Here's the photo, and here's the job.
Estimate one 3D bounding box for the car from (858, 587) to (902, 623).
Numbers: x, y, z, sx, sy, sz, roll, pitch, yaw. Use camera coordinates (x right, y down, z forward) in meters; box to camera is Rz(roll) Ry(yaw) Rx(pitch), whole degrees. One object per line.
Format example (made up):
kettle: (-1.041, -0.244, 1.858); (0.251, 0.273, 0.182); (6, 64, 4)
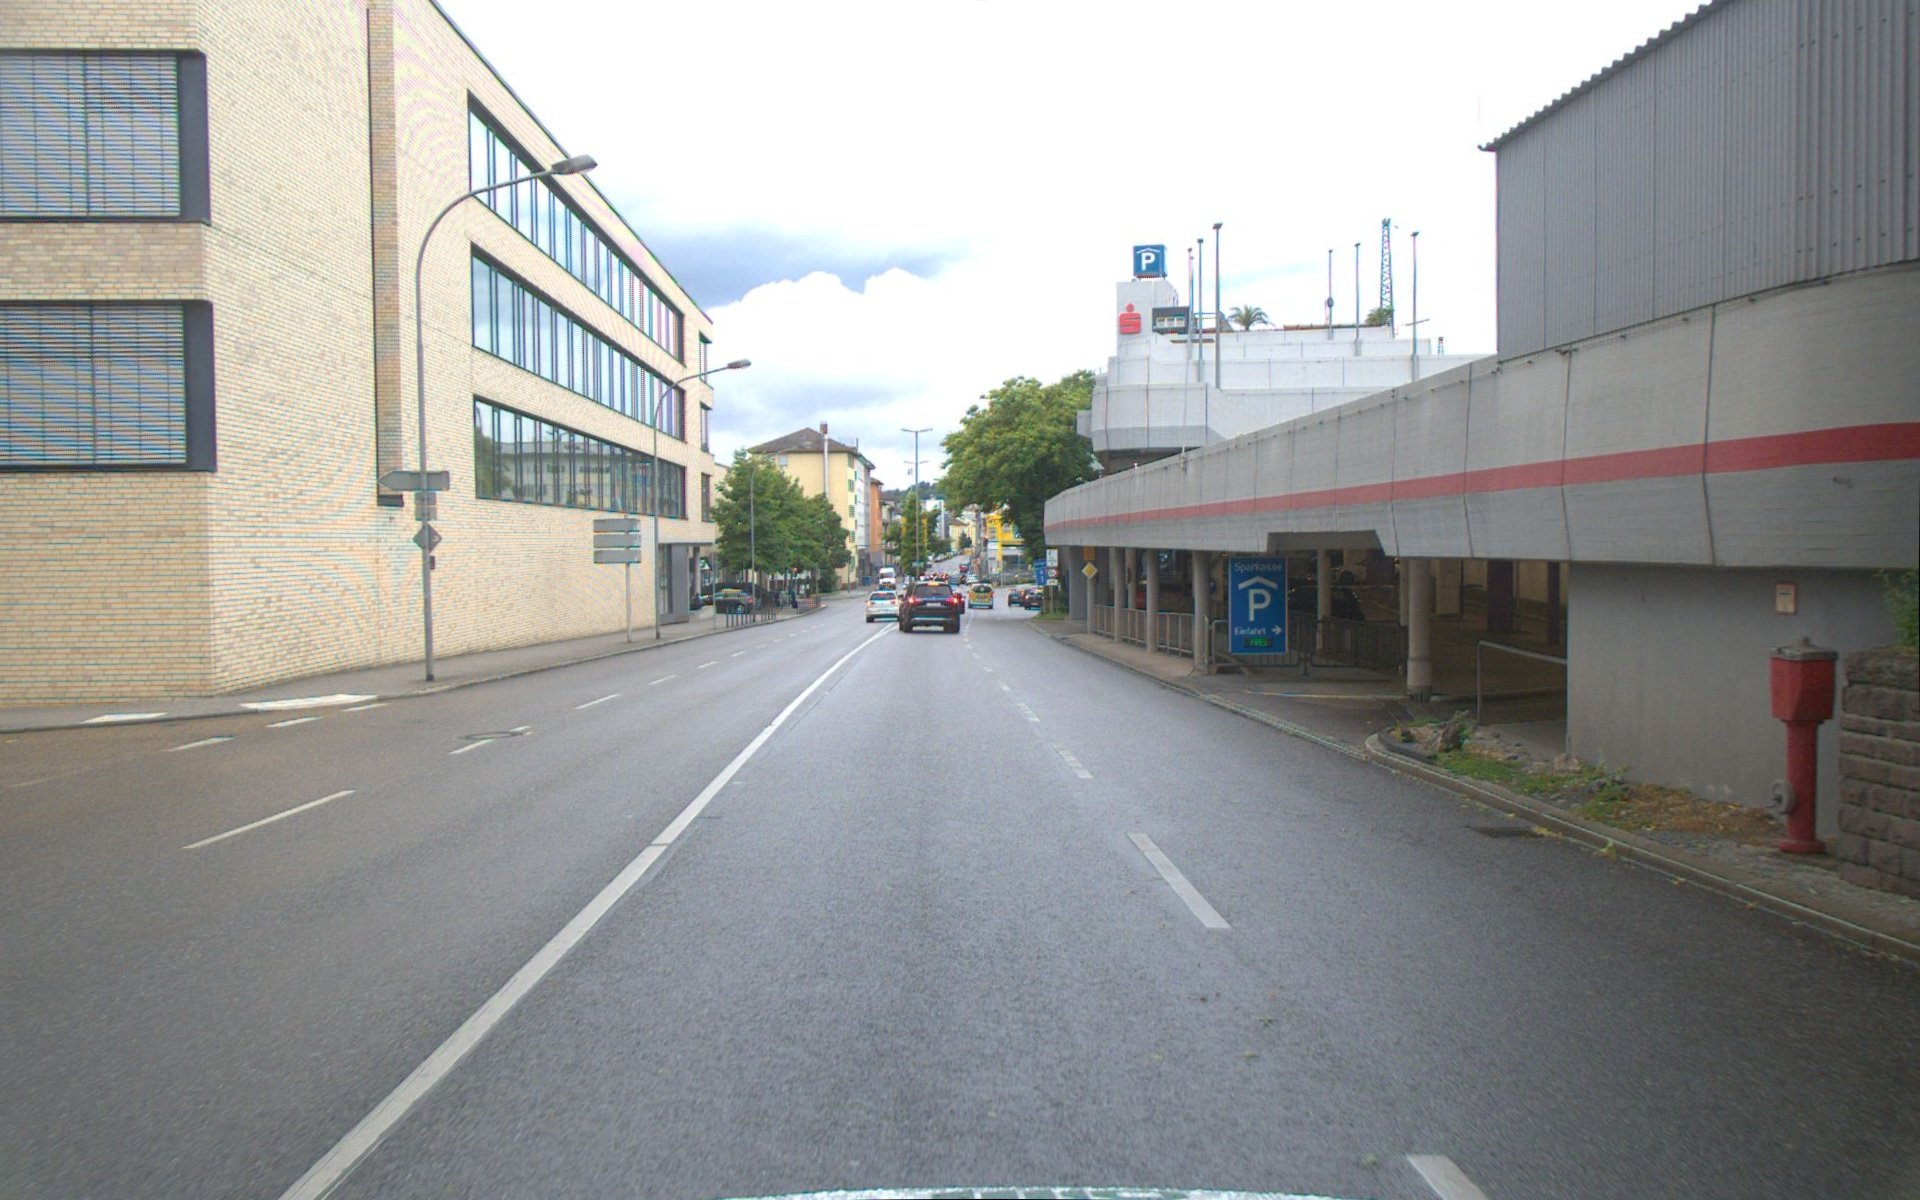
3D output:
car: (-3.930, 0.217, 80.781); (1.955, 1.709, 3.995); (-1, 0, -6)

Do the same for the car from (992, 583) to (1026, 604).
car: (4.124, -0.523, 138.861); (1.951, 1.709, 4.003); (0, 0, 16)

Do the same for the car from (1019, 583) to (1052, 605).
car: (6.045, -0.457, 131.394); (1.951, 1.709, 4.004); (0, 0, 12)

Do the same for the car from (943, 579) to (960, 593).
car: (-1.134, -1.907, 219.916); (1.954, 1.709, 3.998); (-1, 2, -4)

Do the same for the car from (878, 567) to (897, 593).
car: (-9.009, -2.484, 204.474); (2.141, 3.152, 4.926); (0, 0, -5)

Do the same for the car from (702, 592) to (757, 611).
car: (-15.240, 0.082, 109.595); (3.585, 1.256, 1.439); (0, 0, -7)

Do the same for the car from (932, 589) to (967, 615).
car: (-0.680, 0.110, 109.738); (1.951, 1.709, 4.002); (-1, 0, 4)

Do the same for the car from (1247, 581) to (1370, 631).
car: (10.707, 0.183, 51.000); (3.639, 1.501, 1.688); (-1, 0, 9)

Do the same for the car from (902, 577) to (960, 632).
car: (-1.014, 0.137, 59.873); (2.049, 1.944, 4.099); (0, 0, 0)

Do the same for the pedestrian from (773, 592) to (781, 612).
pedestrian: (-12.165, 0.137, 110.005); (0.444, 1.300, 0.454); (0, 0, 10)

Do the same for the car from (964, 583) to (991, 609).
car: (1.358, -0.336, 129.869); (2.128, 2.039, 4.000); (0, 0, 0)
